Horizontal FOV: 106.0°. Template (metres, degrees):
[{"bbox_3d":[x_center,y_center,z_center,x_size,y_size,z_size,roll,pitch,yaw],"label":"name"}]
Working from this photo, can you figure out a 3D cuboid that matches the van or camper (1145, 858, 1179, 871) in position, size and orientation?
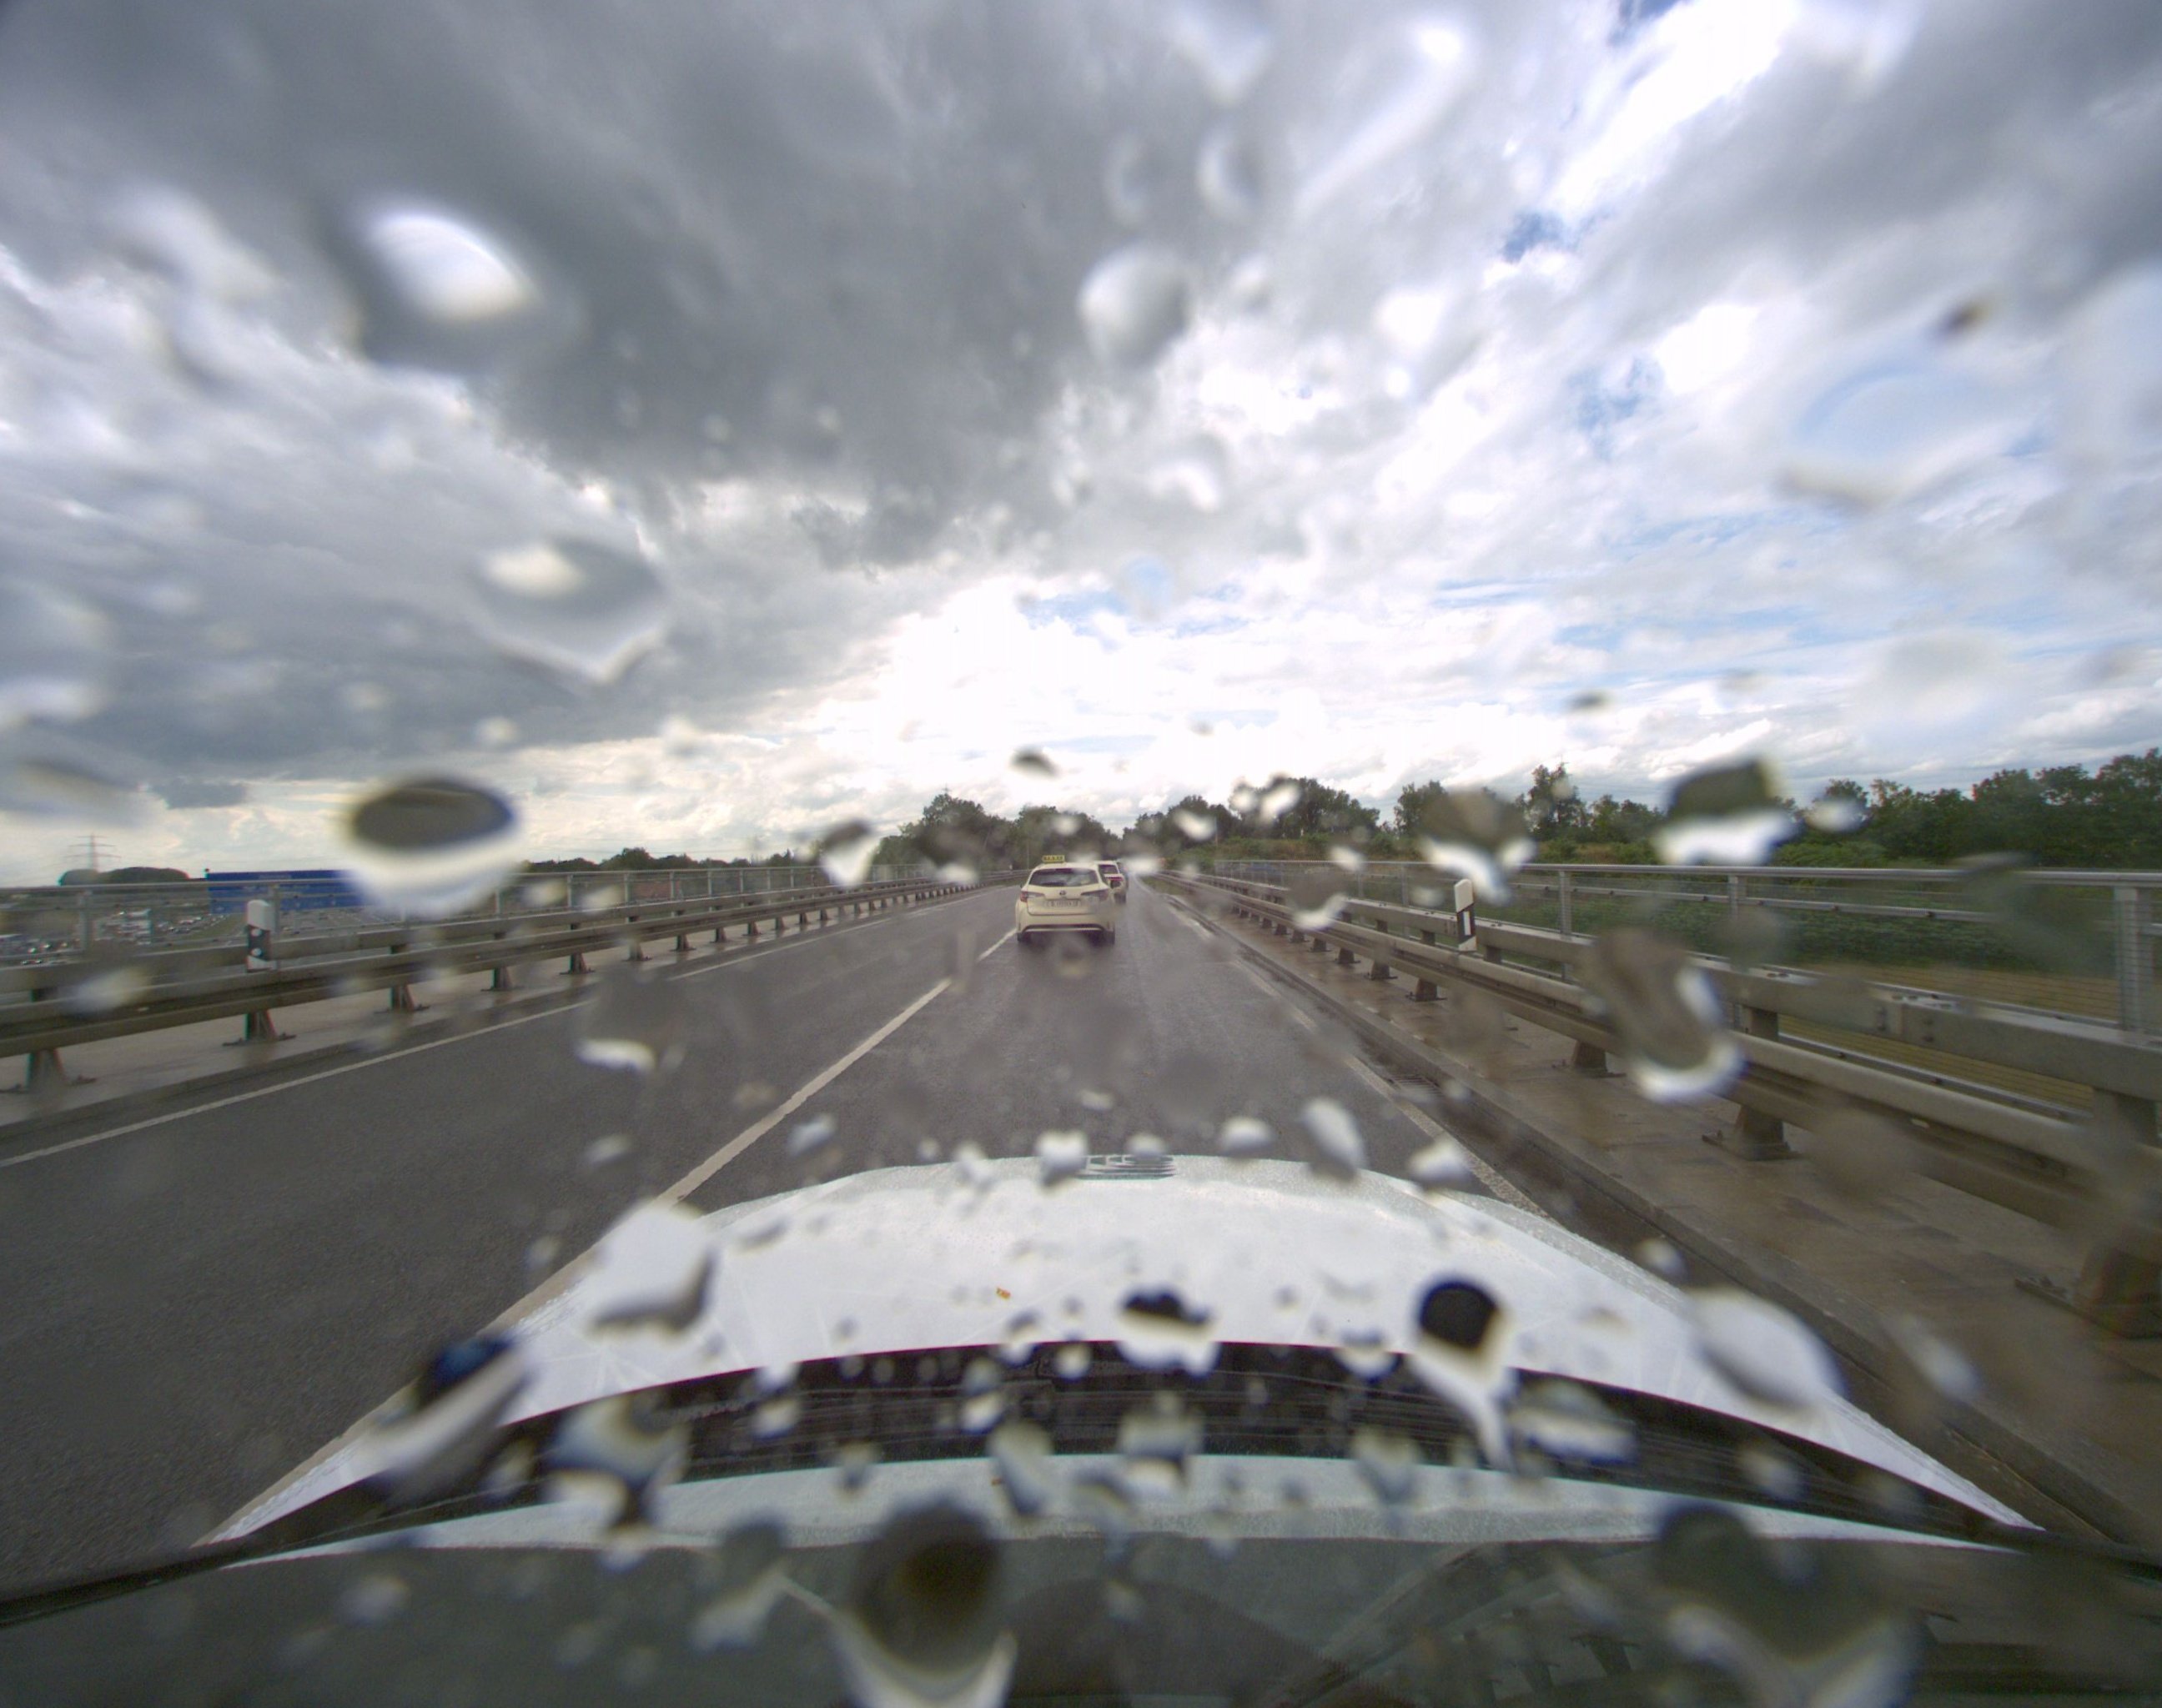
[{"bbox_3d":[14.356,1.927,143.889,5.683,2.241,2.011,0,0,-13],"label":"van or camper"}]

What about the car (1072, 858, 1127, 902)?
[{"bbox_3d":[0.689,0.876,29.424,1.847,1.443,4.173,0,0,2],"label":"car"}]

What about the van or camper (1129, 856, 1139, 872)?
[{"bbox_3d":[12.032,2.158,184.771,2.322,3.562,6.312,0,0,4],"label":"van or camper"}]

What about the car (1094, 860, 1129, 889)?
[{"bbox_3d":[1.669,1.074,44.365,1.847,1.443,4.173,0,0,2],"label":"car"}]

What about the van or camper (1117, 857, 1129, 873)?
[{"bbox_3d":[7.976,2.073,154.535,2.322,2.864,6.312,0,0,4],"label":"van or camper"}]

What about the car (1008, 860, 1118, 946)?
[{"bbox_3d":[-0.229,0.845,15.762,1.847,1.394,4.173,0,0,2],"label":"car"}]
